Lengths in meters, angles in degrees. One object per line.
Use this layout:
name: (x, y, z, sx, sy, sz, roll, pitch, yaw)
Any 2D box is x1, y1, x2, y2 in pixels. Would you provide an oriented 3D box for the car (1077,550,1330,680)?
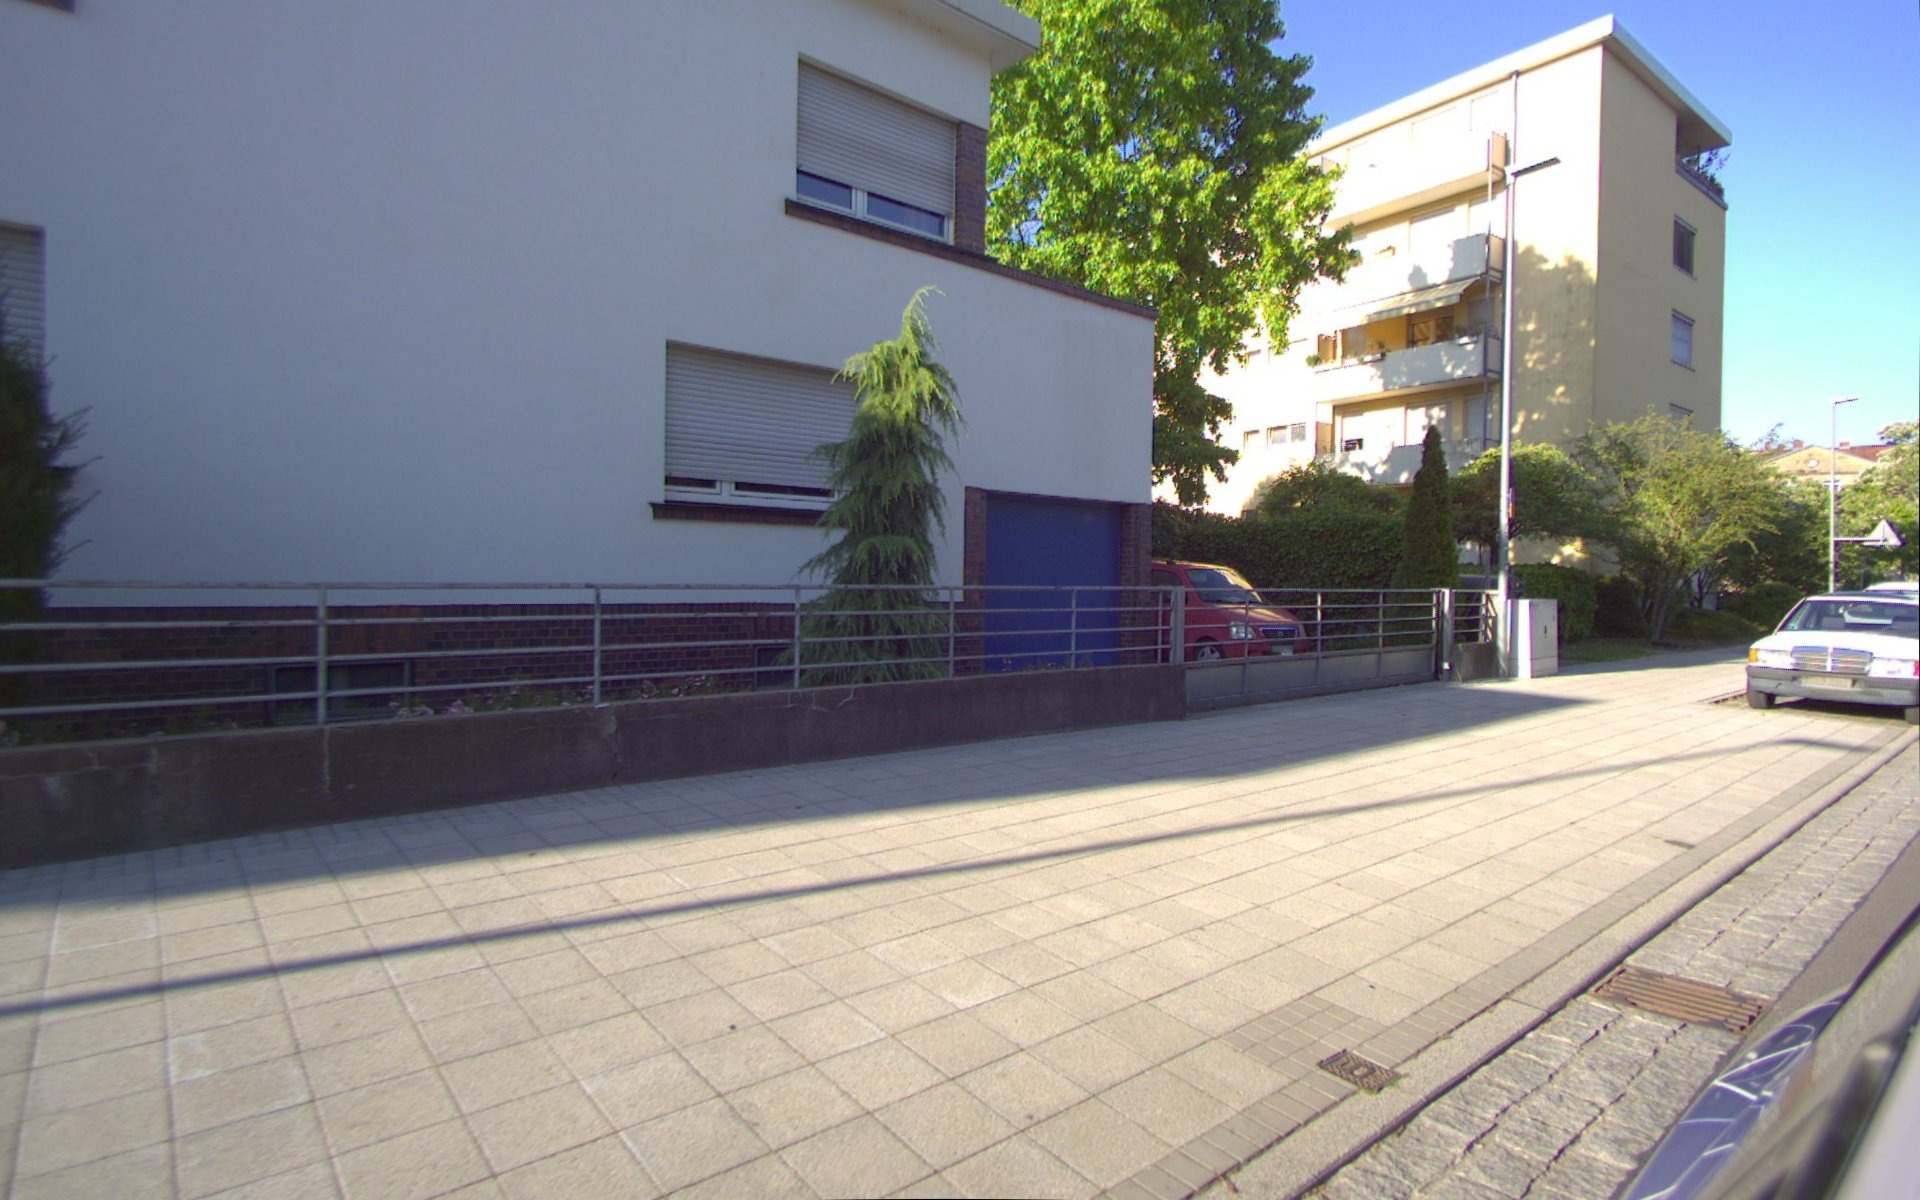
car: (3.455, 0.152, 14.916, 1.611, 1.662, 3.507, 0, 1, -32)

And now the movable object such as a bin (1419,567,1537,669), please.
movable object such as a bin: (7.811, 0.246, 15.290, 1.102, 1.450, 1.240, 0, 1, -38)

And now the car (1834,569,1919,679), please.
car: (15.584, 0.348, 16.210, 4.056, 1.574, 1.683, 0, 3, -39)

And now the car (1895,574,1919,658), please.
car: (19.818, 0.316, 19.846, 4.072, 1.574, 1.682, 0, 3, -41)

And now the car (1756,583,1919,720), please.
car: (11.435, 0.530, 12.566, 4.297, 1.407, 1.567, 0, 3, -40)
